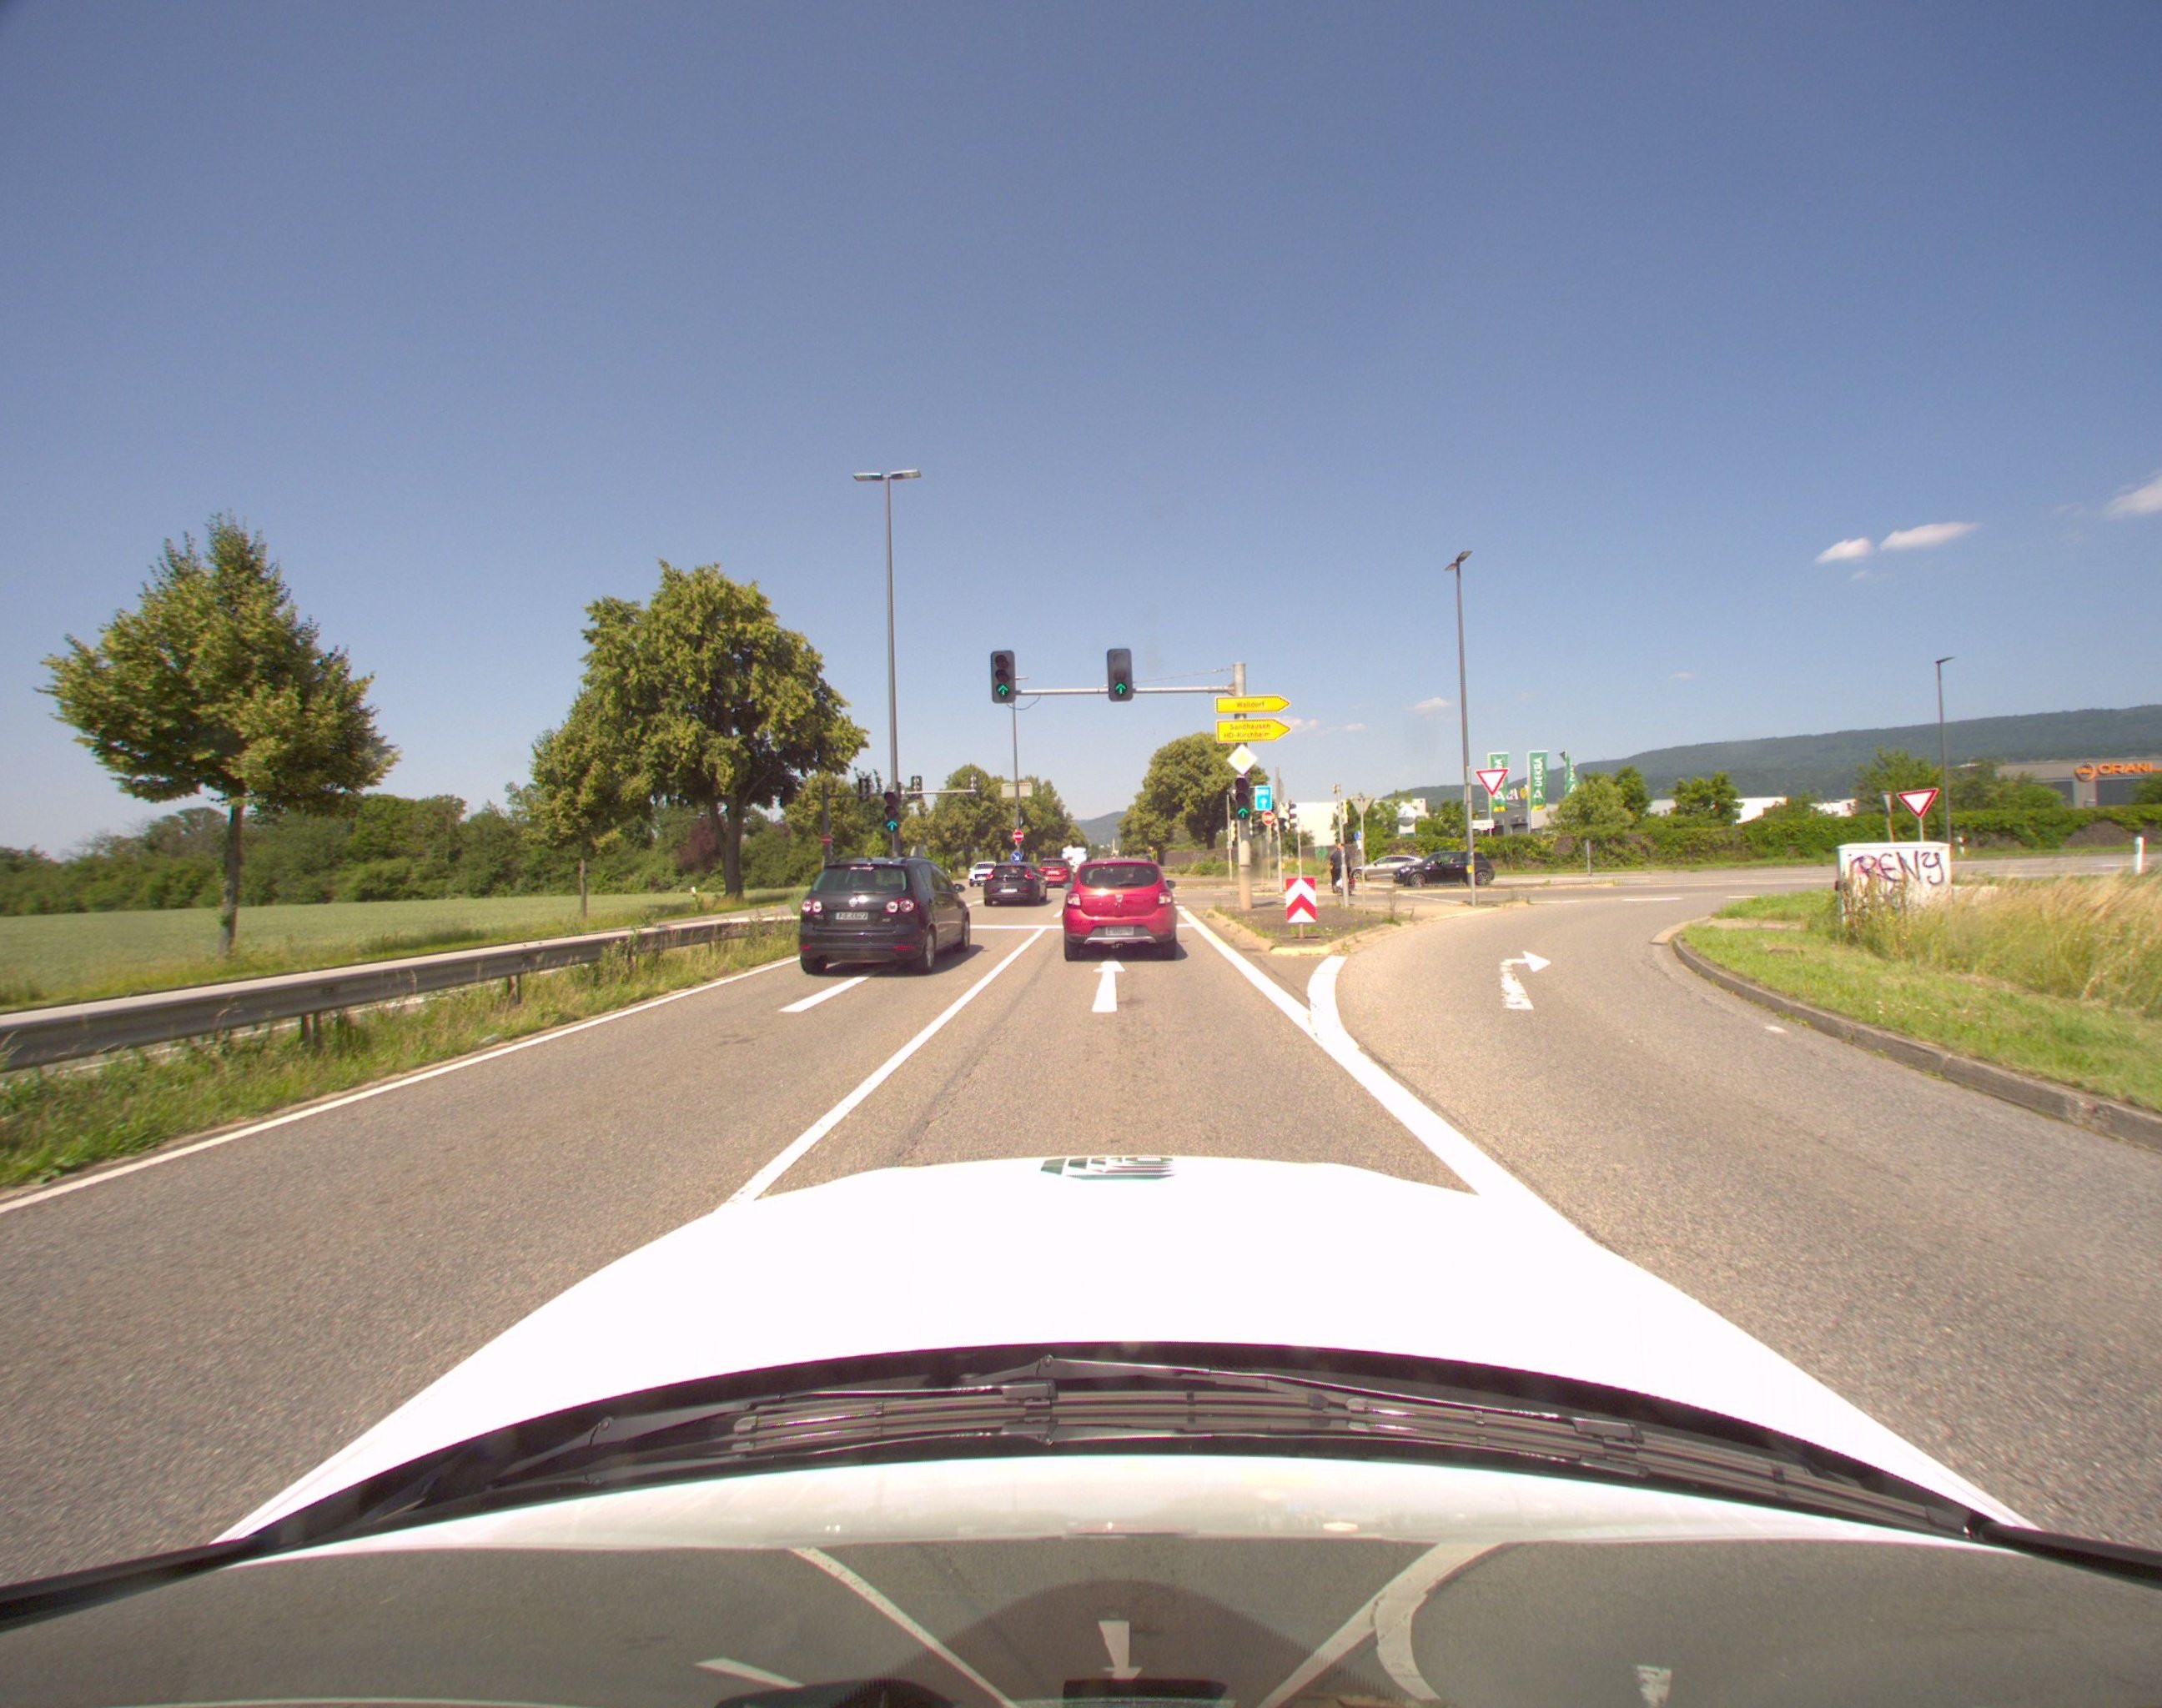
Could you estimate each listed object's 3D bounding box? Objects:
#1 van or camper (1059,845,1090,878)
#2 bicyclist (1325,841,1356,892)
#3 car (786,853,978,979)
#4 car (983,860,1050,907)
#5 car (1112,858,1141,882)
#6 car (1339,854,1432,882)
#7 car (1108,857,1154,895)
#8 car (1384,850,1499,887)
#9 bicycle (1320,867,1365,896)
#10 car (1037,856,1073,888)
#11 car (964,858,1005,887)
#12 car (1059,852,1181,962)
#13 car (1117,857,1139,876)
[{"bbox_3d":[-0.439,0.555,61.535,2.172,2.303,4.826,-1,0,0],"label":"van or camper"},{"bbox_3d":[9.297,0.454,29.226,0.799,1.771,0.809,-2,0,1],"label":"bicyclist"},{"bbox_3d":[-2.773,0.793,12.255,1.716,1.576,3.895,-1,0,3],"label":"car"},{"bbox_3d":[-2.093,0.929,27.390,1.695,1.442,3.958,-1,0,3],"label":"car"},{"bbox_3d":[2.957,1.005,52.410,1.741,1.458,3.680,-1,0,4],"label":"car"},{"bbox_3d":[15.976,0.732,42.711,4.323,1.327,1.817,-2,0,27],"label":"car"},{"bbox_3d":[2.065,0.859,33.360,1.741,1.458,3.680,-1,0,4],"label":"car"},{"bbox_3d":[14.509,0.573,32.972,3.959,1.327,1.813,-2,0,13],"label":"car"},{"bbox_3d":[9.318,0.965,29.117,0.758,0.915,2.780,-2,0,2],"label":"bicycle"},{"bbox_3d":[-1.340,0.904,43.455,1.718,1.600,3.956,-1,0,1],"label":"car"},{"bbox_3d":[-6.136,1.168,52.321,1.986,1.670,4.002,-2,0,2],"label":"car"},{"bbox_3d":[0.695,0.786,13.638,1.741,1.576,3.680,-1,0,4],"label":"car"},{"bbox_3d":[3.884,1.027,66.952,1.741,1.458,3.680,-1,0,4],"label":"car"}]
